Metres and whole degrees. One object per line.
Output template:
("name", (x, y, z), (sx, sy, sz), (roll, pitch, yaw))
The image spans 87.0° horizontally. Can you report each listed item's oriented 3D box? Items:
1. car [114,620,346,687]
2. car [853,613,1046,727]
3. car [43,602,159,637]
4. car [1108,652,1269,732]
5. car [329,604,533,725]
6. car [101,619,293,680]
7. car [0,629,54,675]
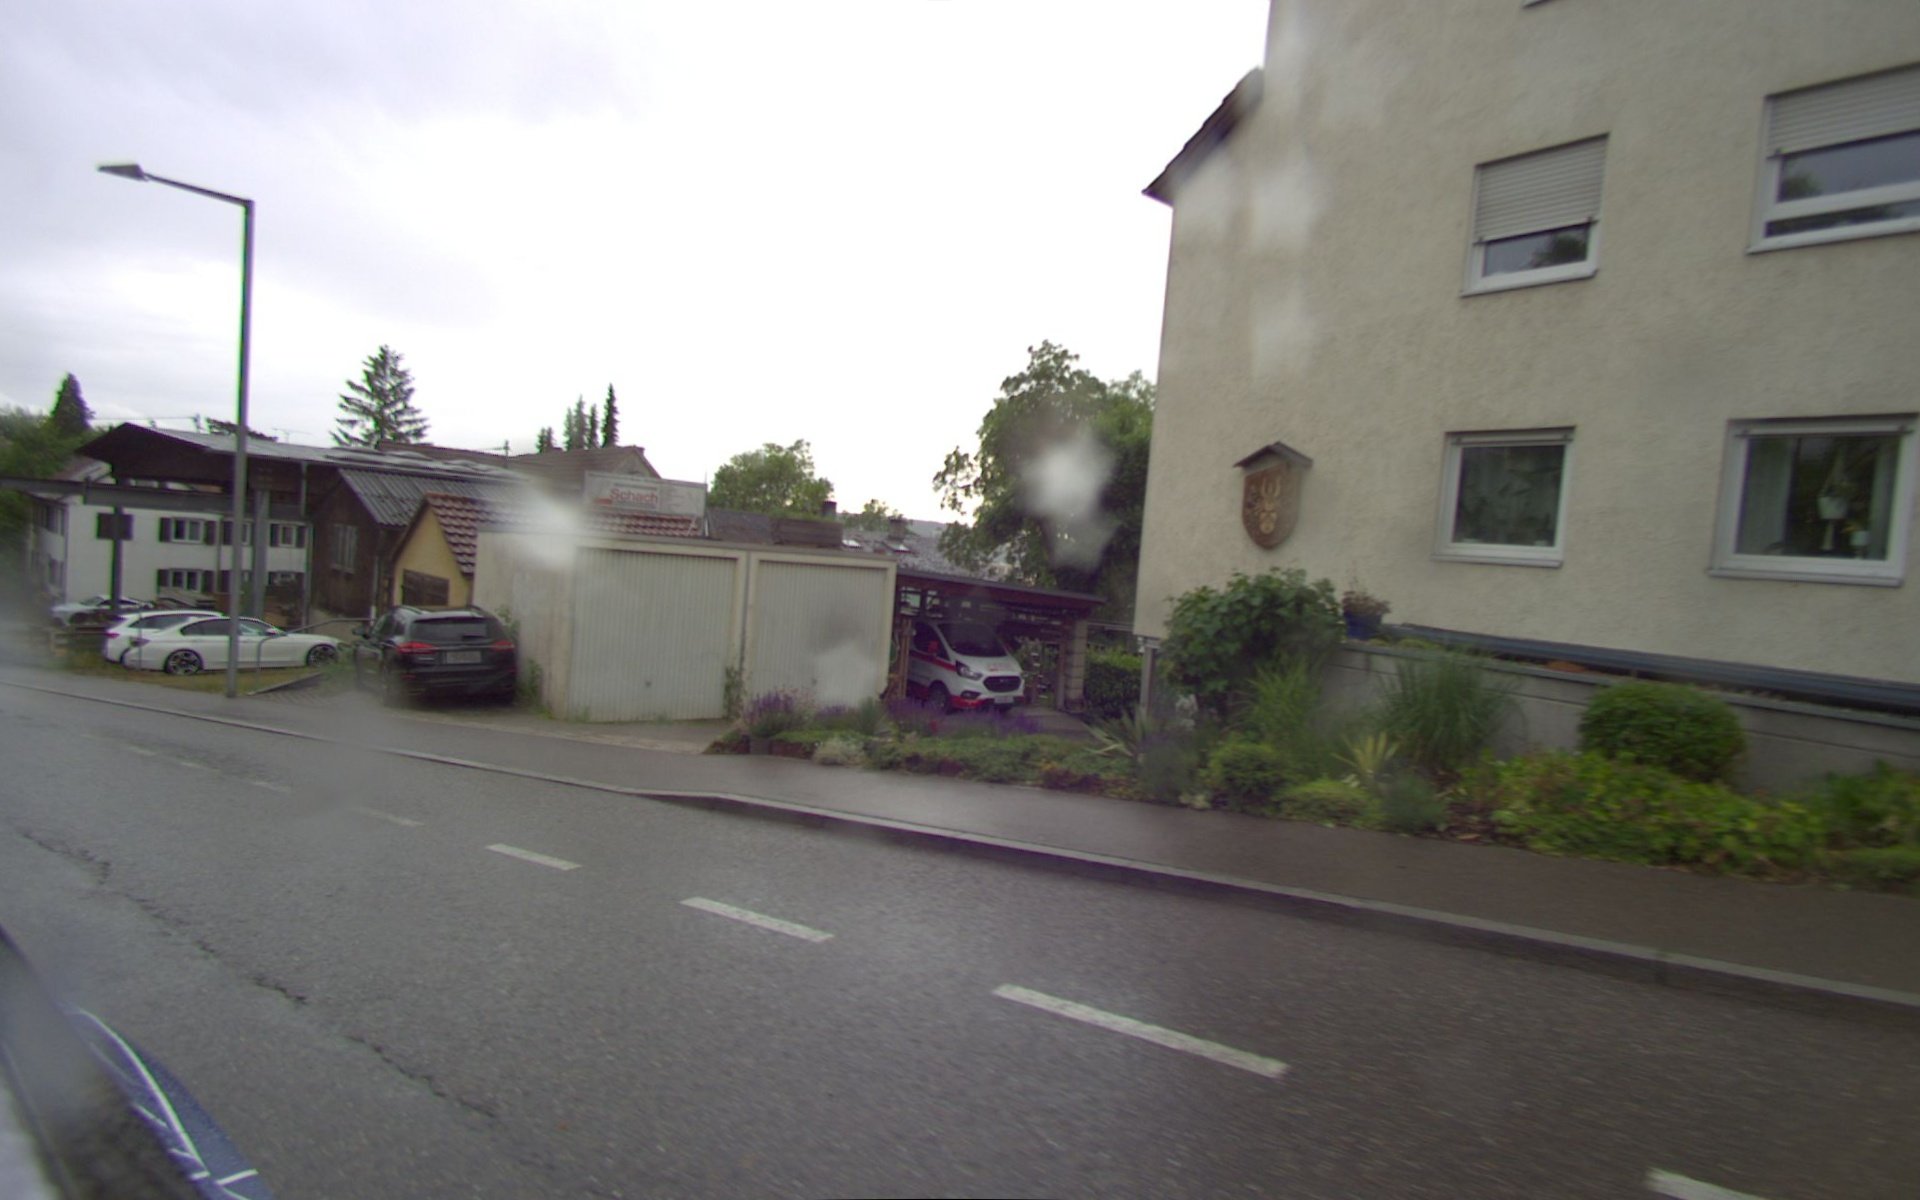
("car", (-17.813, 1.268, 24.825), (4.440, 1.516, 1.903), (2, -2, -41))
("car", (-0.314, 1.487, 22.275), (1.943, 2.016, 4.118), (6, -1, -40))
("car", (-41.460, 0.967, 48.903), (1.801, 1.519, 3.948), (3, 0, 38))
("car", (6.455, 2.579, 28.868), (1.968, 1.740, 4.008), (6, -1, -40))
("car", (-8.799, 0.953, 16.589), (1.949, 1.672, 4.971), (2, -2, -39))
("car", (-20.110, 1.286, 26.914), (3.933, 1.516, 1.906), (2, -2, -34))
("car", (-32.091, 1.694, 33.877), (4.441, 1.452, 1.875), (-1, -4, 39))
